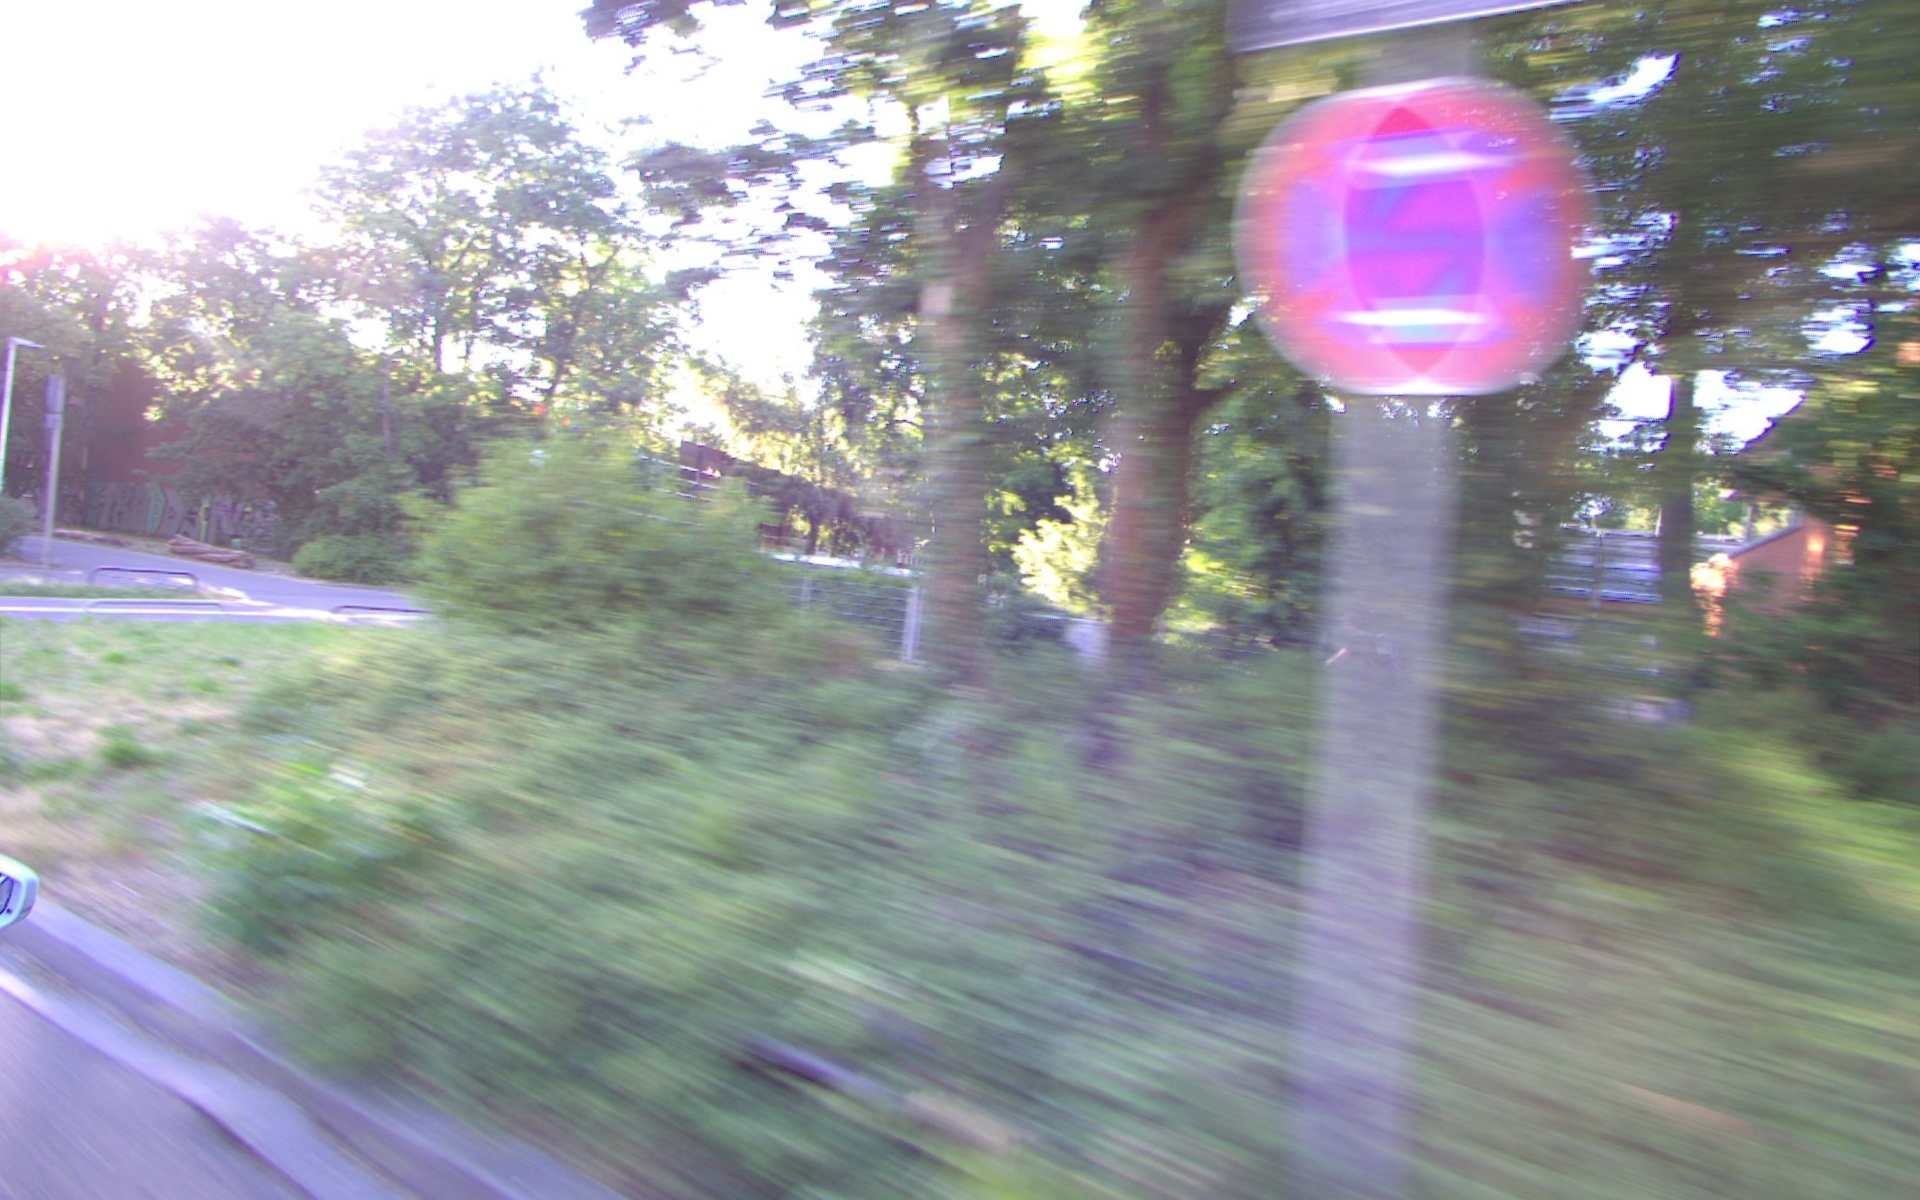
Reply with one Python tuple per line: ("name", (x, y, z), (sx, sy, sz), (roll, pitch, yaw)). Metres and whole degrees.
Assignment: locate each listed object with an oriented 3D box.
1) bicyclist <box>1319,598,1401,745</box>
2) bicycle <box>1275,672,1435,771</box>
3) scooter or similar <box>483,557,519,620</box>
("bicyclist", (4.880, 0.857, 12.267), (0.712, 1.666, 0.532), (7, 2, 27))
("bicycle", (4.814, 1.456, 12.288), (1.692, 0.929, 0.532), (6, 1, 27))
("scooter or similar", (-9.773, -0.257, 21.399), (0.383, 1.223, 1.456), (5, 1, -34))
